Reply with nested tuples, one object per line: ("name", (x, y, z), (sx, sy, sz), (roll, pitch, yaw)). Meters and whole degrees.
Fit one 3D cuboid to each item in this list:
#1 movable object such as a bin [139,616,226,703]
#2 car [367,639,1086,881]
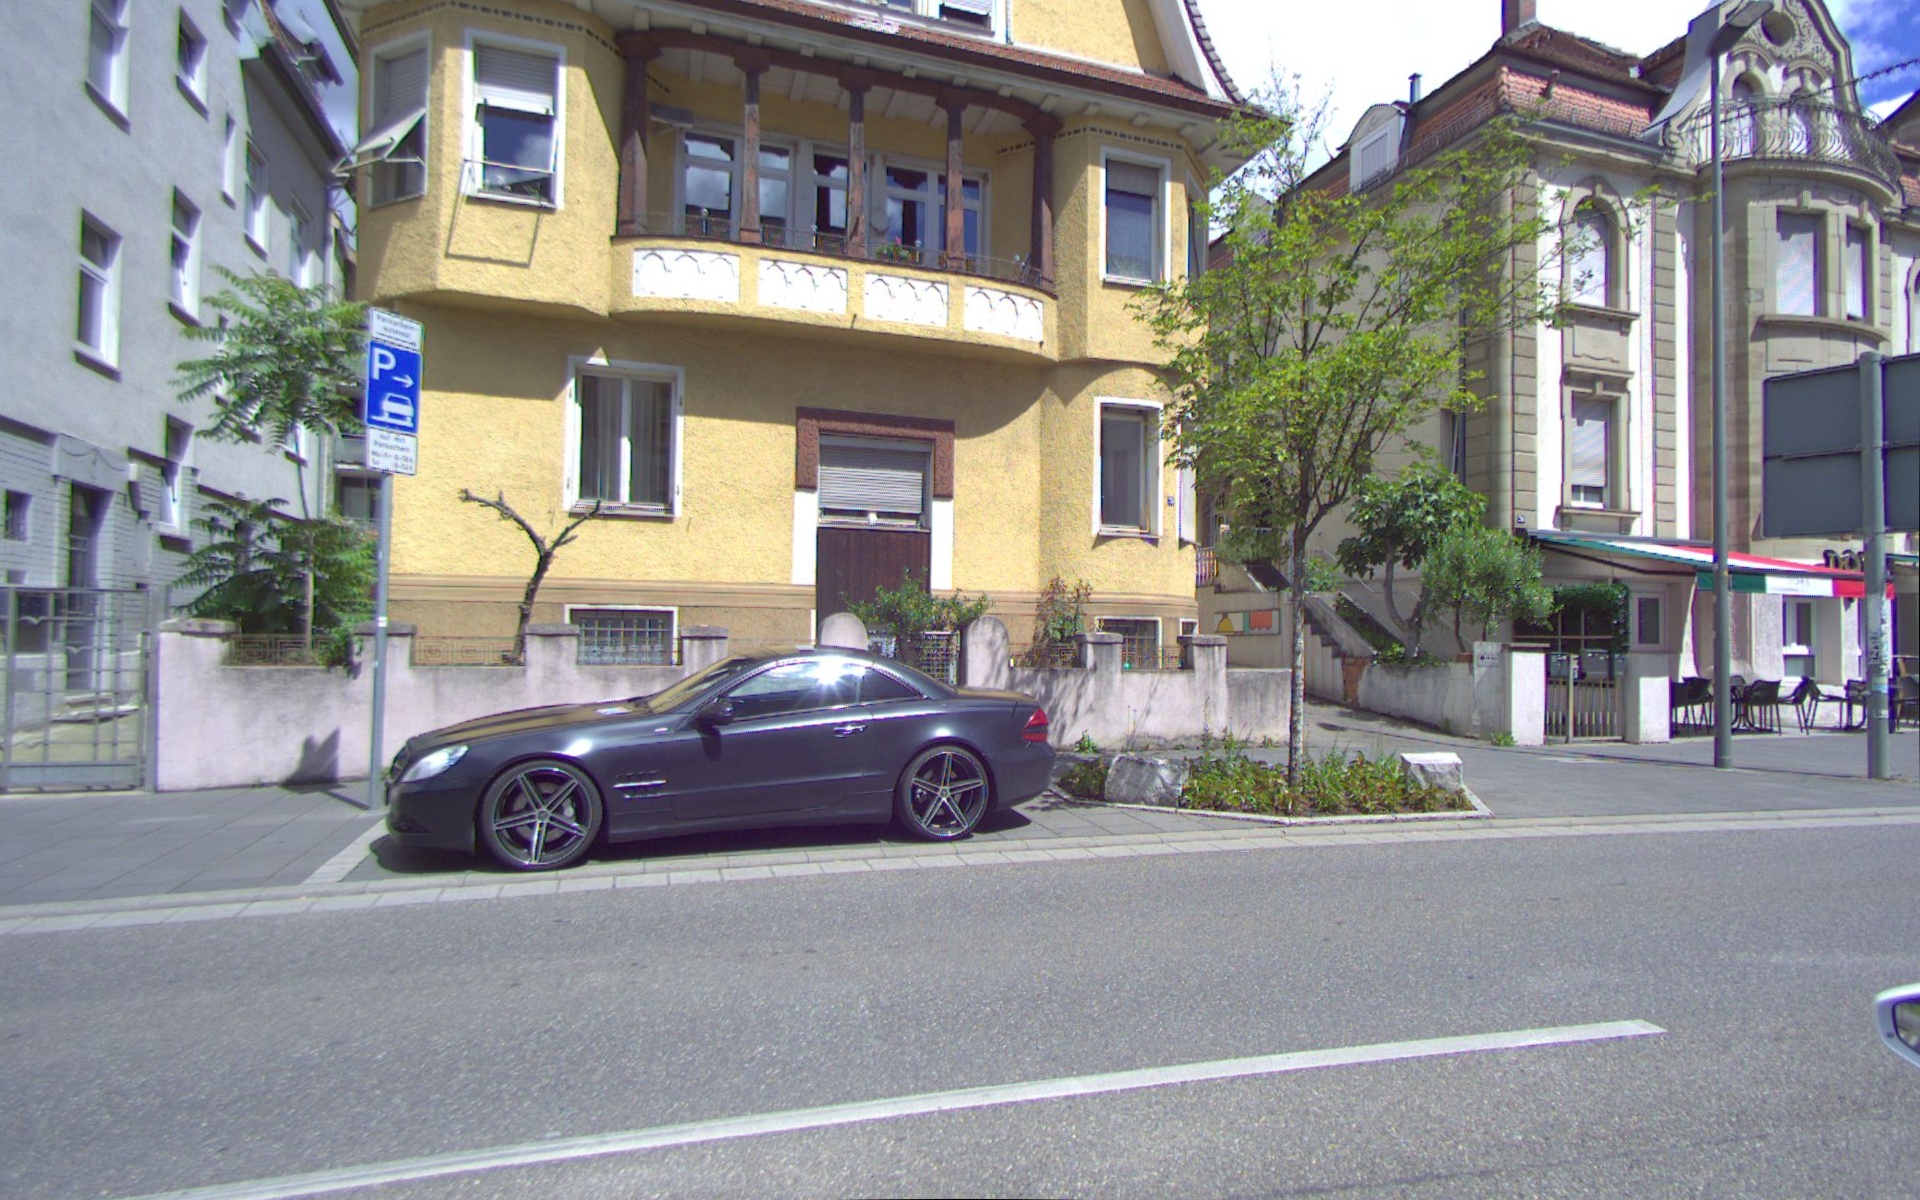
("movable object such as a bin", (-10.879, 0.817, 14.090), (0.703, 1.137, 0.935), (2, 1, -22))
("car", (-1.449, 0.923, 6.997), (4.344, 1.262, 1.707), (1, -1, -20))
